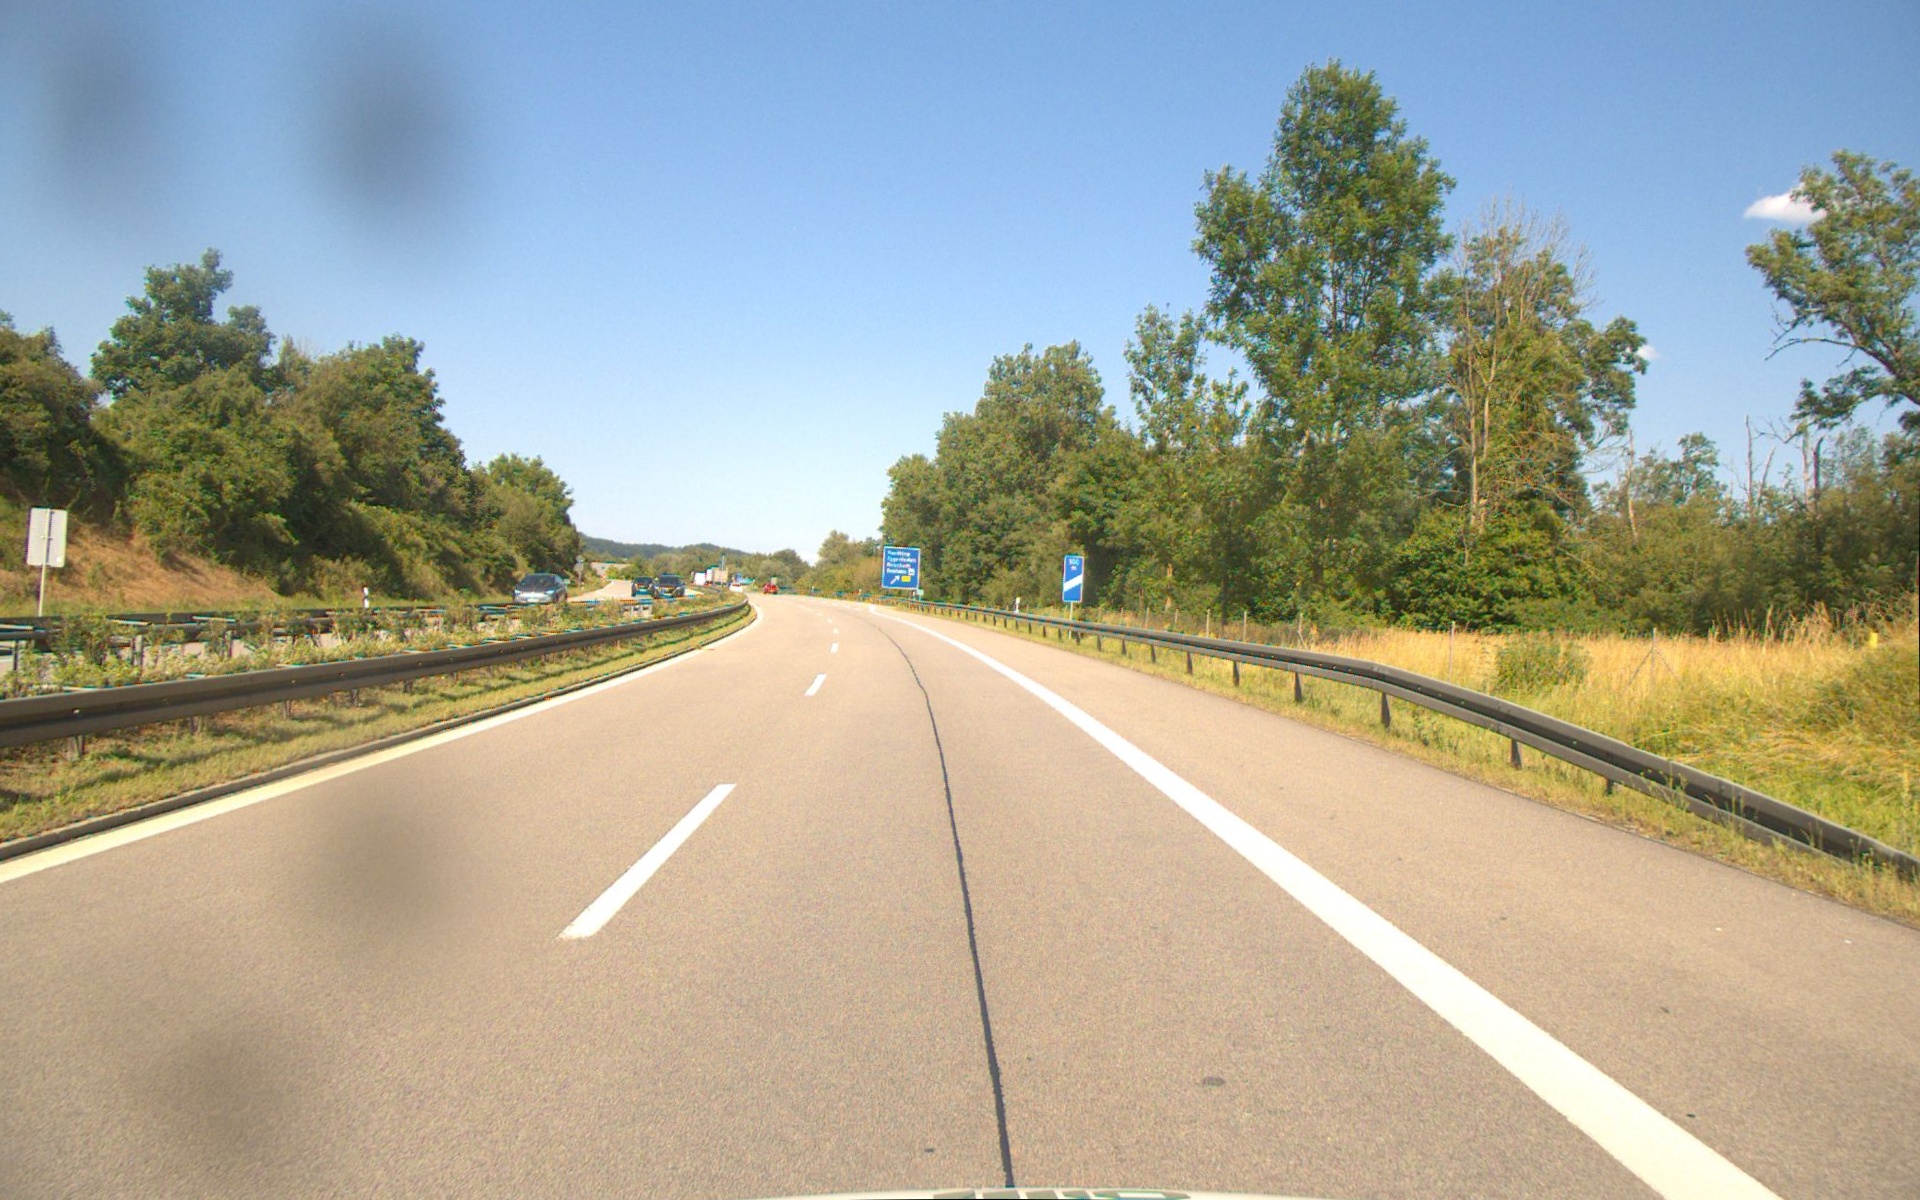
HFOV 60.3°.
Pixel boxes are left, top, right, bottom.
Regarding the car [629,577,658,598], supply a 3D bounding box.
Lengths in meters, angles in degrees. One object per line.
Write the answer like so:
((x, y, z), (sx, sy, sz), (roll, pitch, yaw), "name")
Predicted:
((-25.581, -1.025, 133.861), (1.955, 1.680, 4.427), (0, 0, -7), "car")

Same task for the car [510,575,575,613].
((-17.629, -0.250, 69.980), (1.783, 1.506, 4.682), (2, 0, -4), "car")

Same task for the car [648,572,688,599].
((-18.725, -0.946, 106.158), (2.027, 1.708, 4.882), (0, 1, -4), "car")

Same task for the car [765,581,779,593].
((-26.326, -1.835, 231.414), (1.751, 1.456, 3.993), (6, -1, -7), "car")

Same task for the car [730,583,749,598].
((-27.097, -1.177, 203.057), (2.025, 1.653, 3.988), (2, -2, -12), "car")
